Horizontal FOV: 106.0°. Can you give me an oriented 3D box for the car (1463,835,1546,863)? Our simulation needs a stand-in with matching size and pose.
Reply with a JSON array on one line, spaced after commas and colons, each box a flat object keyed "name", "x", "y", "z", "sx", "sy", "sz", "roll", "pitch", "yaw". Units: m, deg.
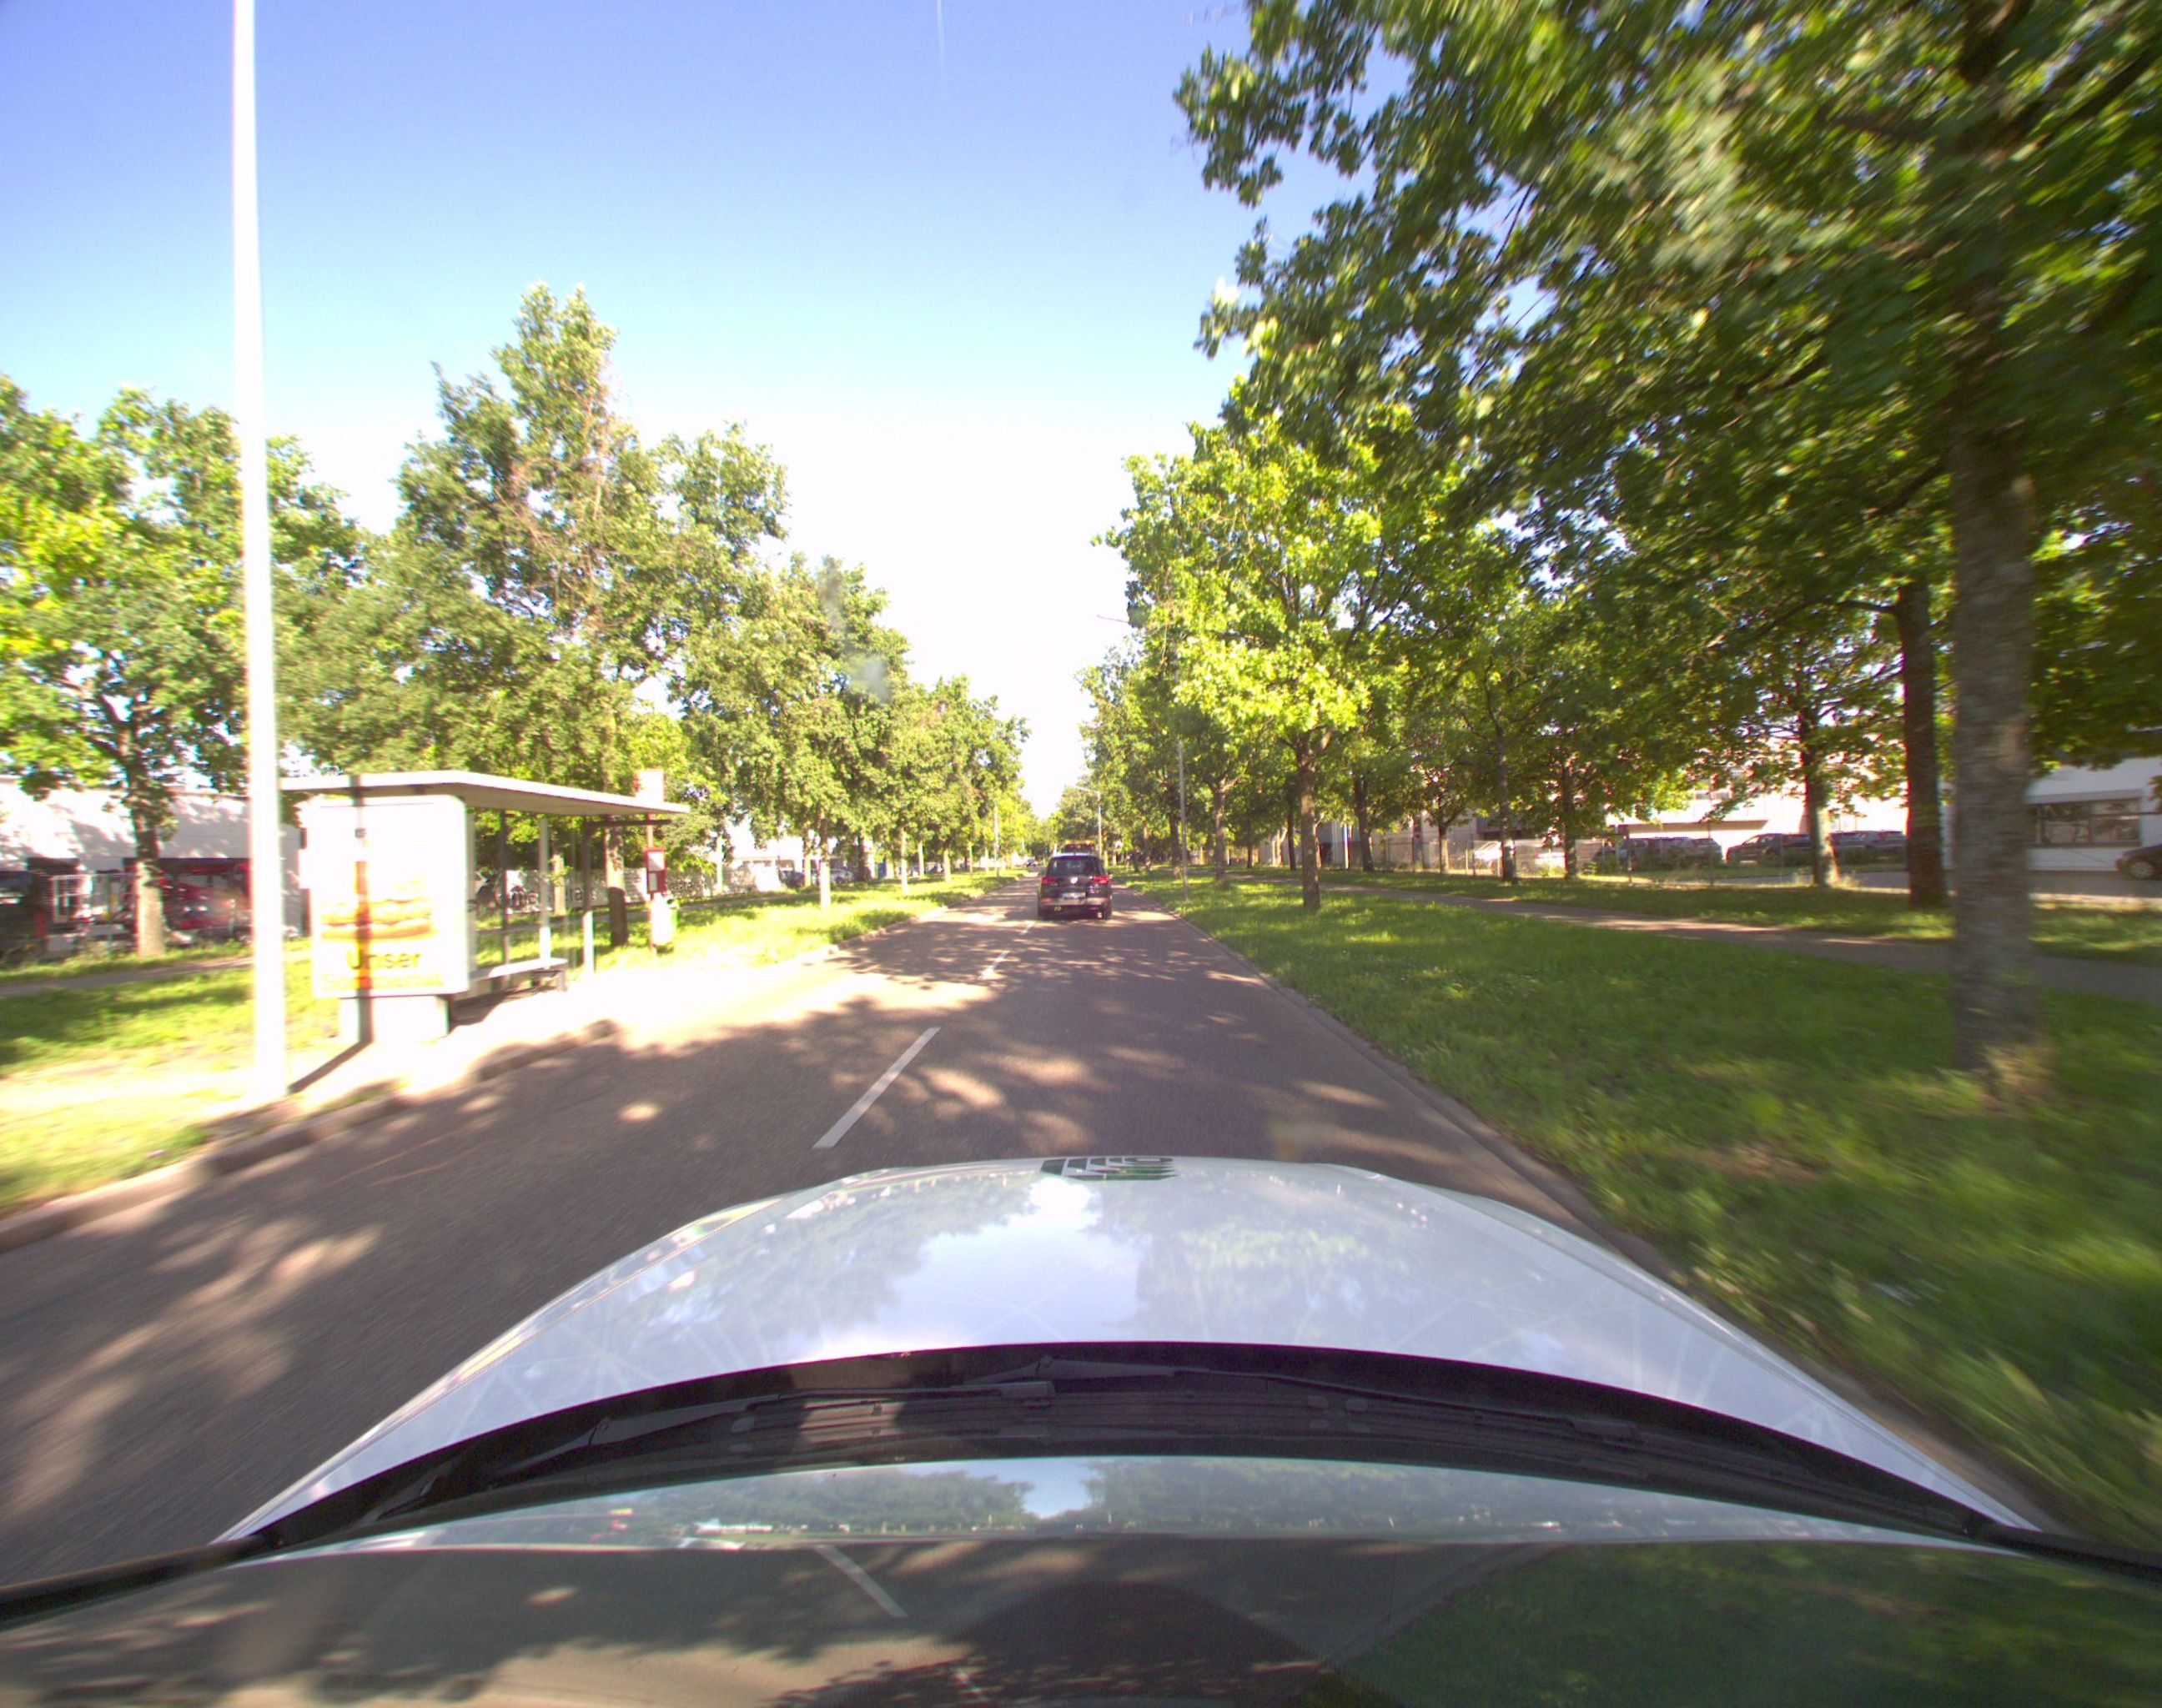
[{"name": "car", "x": 29.086, "y": -0.355, "z": 55.991, "sx": 4.620, "sy": 1.744, "sz": 2.187, "roll": -2, "pitch": 0, "yaw": -6}]

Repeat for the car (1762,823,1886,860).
[{"name": "car", "x": 38.876, "y": -0.629, "z": 42.795, "sx": 2.178, "sy": 1.744, "sz": 4.640, "roll": -2, "pitch": 0, "yaw": -1}]

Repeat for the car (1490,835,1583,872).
[{"name": "car", "x": 23.630, "y": -0.033, "z": 42.503, "sx": 2.178, "sy": 1.744, "sz": 4.640, "roll": -2, "pitch": 0, "yaw": -1}]

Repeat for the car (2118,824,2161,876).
[{"name": "car", "x": 29.786, "y": -0.135, "z": 20.796, "sx": 1.760, "sy": 1.383, "sz": 3.766, "roll": -2, "pitch": 0, "yaw": -1}]

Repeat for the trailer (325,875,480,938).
[{"name": "trailer", "x": -23.479, "y": 1.760, "z": 28.397, "sx": 2.094, "sy": 1.914, "sz": 3.743, "roll": -2, "pitch": 0, "yaw": 2}]

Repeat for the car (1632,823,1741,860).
[{"name": "car", "x": 31.737, "y": -0.624, "z": 42.890, "sx": 2.178, "sy": 1.744, "sz": 4.640, "roll": -2, "pitch": 0, "yaw": -1}]

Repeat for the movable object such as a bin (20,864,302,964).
[{"name": "movable object such as a bin", "x": -23.580, "y": 1.434, "z": 21.208, "sx": 2.094, "sy": 2.217, "sz": 4.463, "roll": -2, "pitch": 0, "yaw": 3}]

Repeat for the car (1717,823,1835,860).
[{"name": "car", "x": 36.444, "y": -0.617, "z": 42.897, "sx": 2.178, "sy": 1.744, "sz": 4.640, "roll": -2, "pitch": 0, "yaw": -1}]

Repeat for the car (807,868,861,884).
[{"name": "car", "x": -22.031, "y": 1.950, "z": 72.758, "sx": 4.186, "sy": 1.288, "sz": 1.940, "roll": -2, "pitch": 0, "yaw": -1}]

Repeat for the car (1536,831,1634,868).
[{"name": "car", "x": 26.080, "y": -0.197, "z": 42.371, "sx": 2.178, "sy": 1.744, "sz": 4.640, "roll": -2, "pitch": 0, "yaw": -1}]

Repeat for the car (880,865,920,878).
[{"name": "car", "x": -21.154, "y": 2.022, "z": 95.311, "sx": 4.177, "sy": 1.321, "sz": 1.944, "roll": -2, "pitch": 0, "yaw": 5}]

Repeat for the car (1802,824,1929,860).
[{"name": "car", "x": 41.231, "y": -0.587, "z": 42.989, "sx": 2.178, "sy": 1.744, "sz": 4.640, "roll": -2, "pitch": 0, "yaw": -1}]

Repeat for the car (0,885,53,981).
[{"name": "car", "x": -23.700, "y": 1.698, "z": 15.002, "sx": 2.028, "sy": 1.988, "sz": 5.808, "roll": -2, "pitch": 0, "yaw": 1}]

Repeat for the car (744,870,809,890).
[{"name": "car", "x": -23.158, "y": 1.943, "z": 61.983, "sx": 4.186, "sy": 1.288, "sz": 1.940, "roll": -2, "pitch": 0, "yaw": -1}]

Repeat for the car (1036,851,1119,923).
[{"name": "car", "x": -0.048, "y": 0.770, "z": 21.345, "sx": 1.929, "sy": 1.656, "sz": 4.427, "roll": -1, "pitch": 0, "yaw": 0}]

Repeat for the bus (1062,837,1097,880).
[{"name": "bus", "x": -0.034, "y": 0.364, "z": 73.248, "sx": 2.754, "sy": 3.456, "sz": 11.213, "roll": -2, "pitch": 0, "yaw": 1}]
